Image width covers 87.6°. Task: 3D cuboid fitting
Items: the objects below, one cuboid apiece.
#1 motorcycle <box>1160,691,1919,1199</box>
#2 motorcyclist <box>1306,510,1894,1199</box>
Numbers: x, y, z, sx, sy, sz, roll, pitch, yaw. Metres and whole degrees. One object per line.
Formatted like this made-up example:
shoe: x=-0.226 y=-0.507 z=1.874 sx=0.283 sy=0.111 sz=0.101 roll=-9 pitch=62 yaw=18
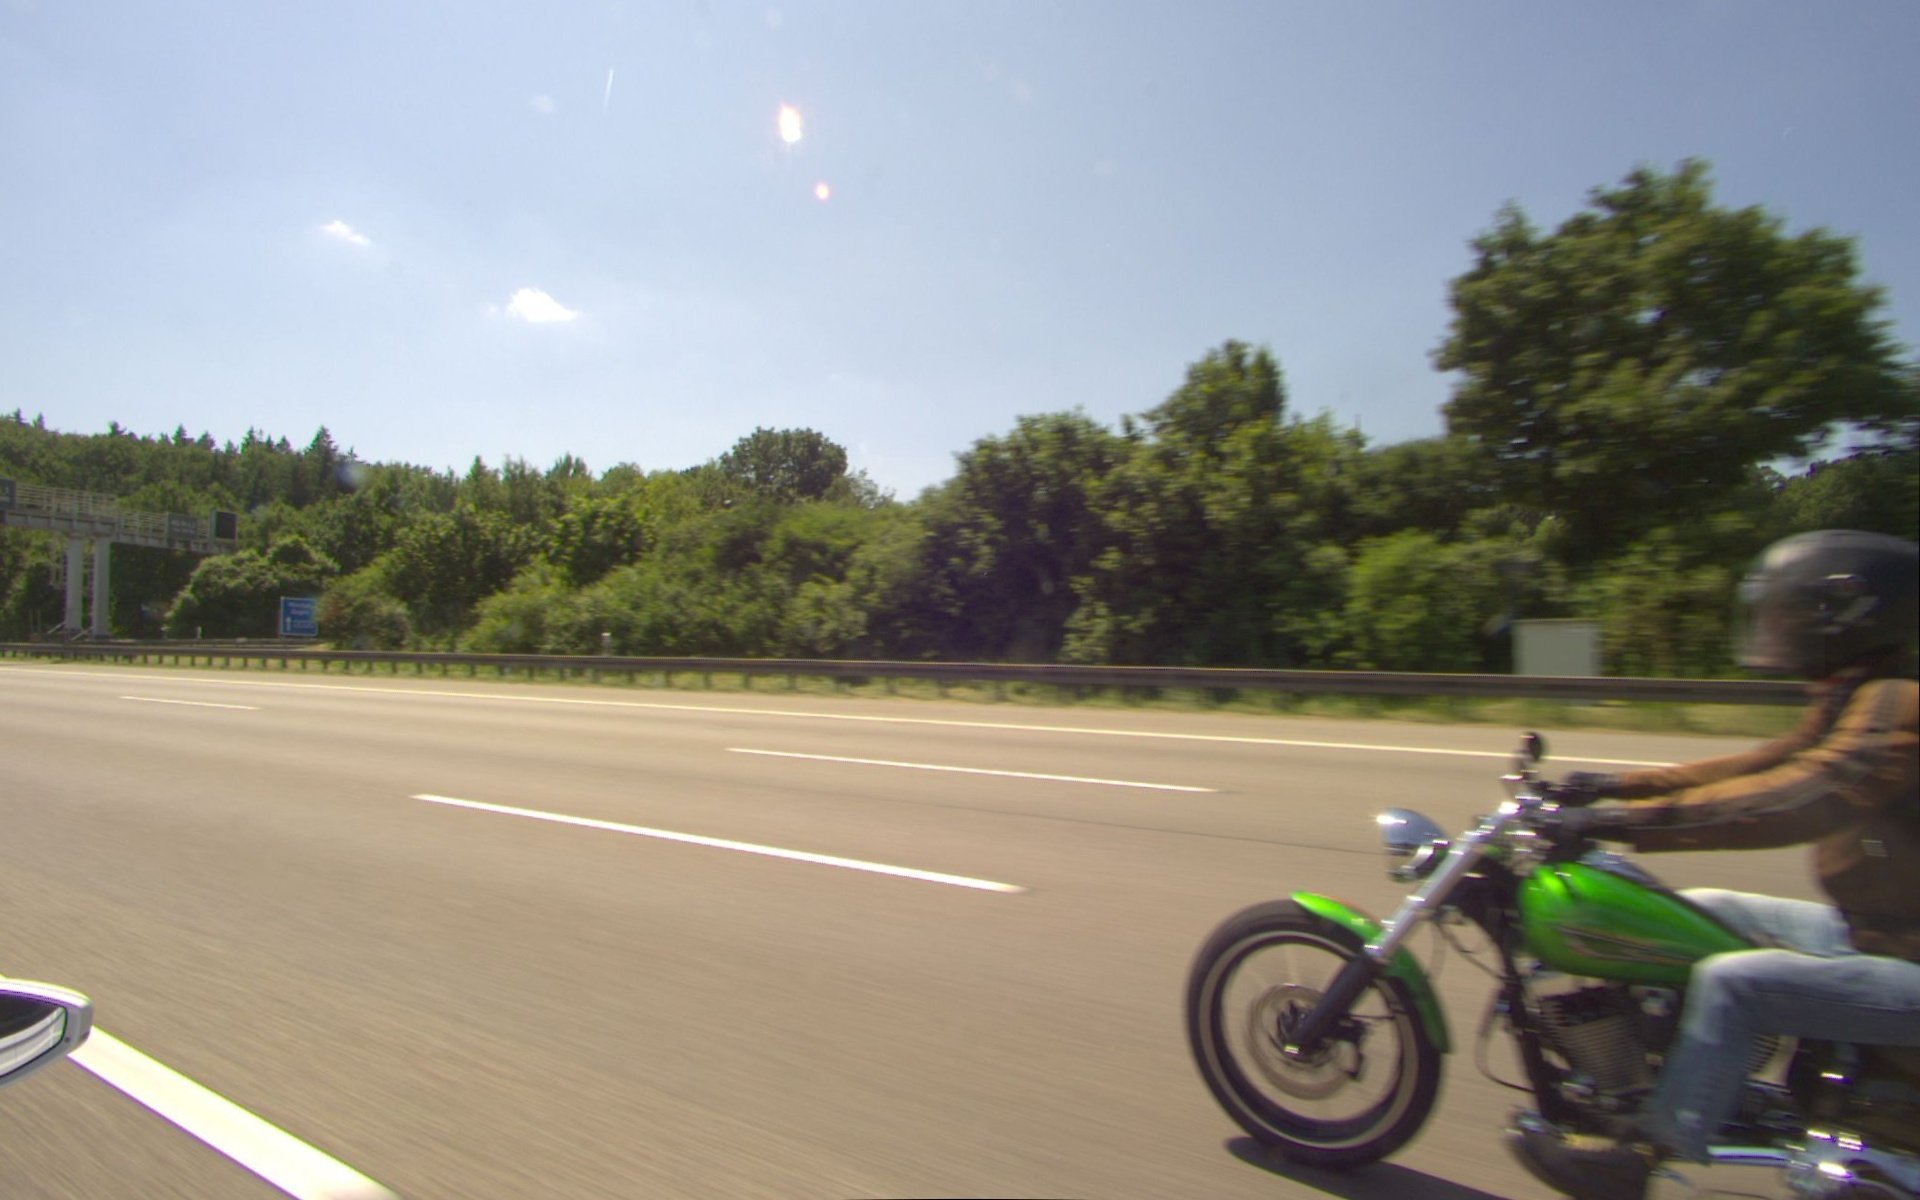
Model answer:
motorcycle: x=1.663 y=0.844 z=2.256 sx=2.407 sy=1.150 sz=0.533 roll=-1 pitch=-1 yaw=39
motorcyclist: x=1.471 y=0.581 z=2.378 sx=1.010 sy=1.446 sz=0.849 roll=-1 pitch=0 yaw=38
